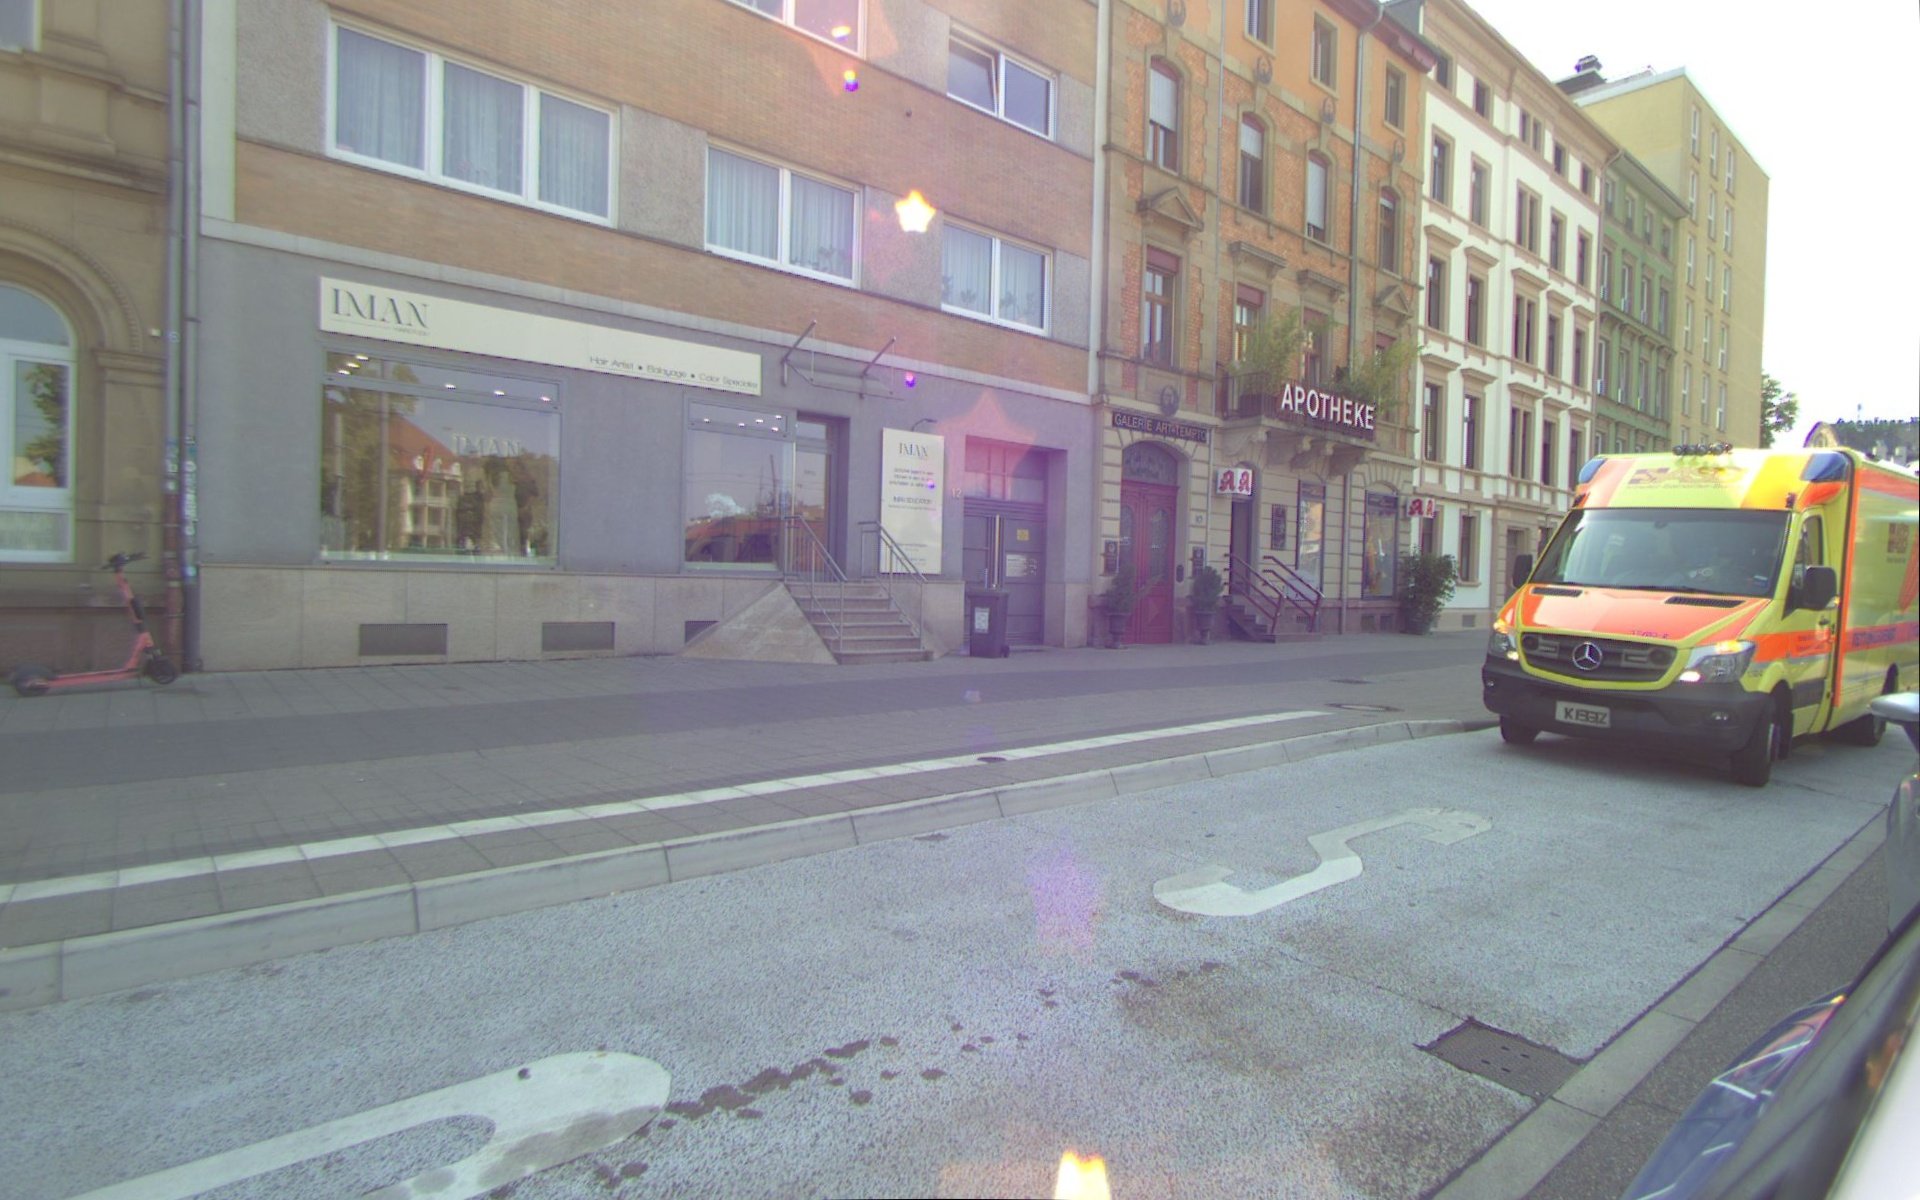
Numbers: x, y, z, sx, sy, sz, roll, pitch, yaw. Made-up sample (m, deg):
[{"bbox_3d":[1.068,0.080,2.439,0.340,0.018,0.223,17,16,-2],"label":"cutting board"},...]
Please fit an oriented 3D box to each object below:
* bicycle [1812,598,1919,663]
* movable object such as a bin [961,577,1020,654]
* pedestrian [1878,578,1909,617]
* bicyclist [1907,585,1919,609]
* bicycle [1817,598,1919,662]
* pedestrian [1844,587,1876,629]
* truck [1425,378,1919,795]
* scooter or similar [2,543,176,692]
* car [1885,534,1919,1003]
[{"bbox_3d":[17.961,0.573,19.875,0.427,1.219,1.841,1,0,-39],"label":"bicycle"},{"bbox_3d":[0.480,0.226,15.673,0.640,1.118,0.723,3,2,24],"label":"movable object such as a bin"},{"bbox_3d":[40.486,-0.119,43.889,0.780,1.648,0.647,1,2,-24],"label":"pedestrian"},{"bbox_3d":[64.893,-0.216,68.732,1.083,1.606,0.721,1,1,-40],"label":"bicyclist"},{"bbox_3d":[18.298,0.573,20.141,0.427,1.219,1.841,1,0,-39],"label":"bicycle"},{"bbox_3d":[39.322,0.344,44.224,0.780,1.780,0.691,1,2,-22],"label":"pedestrian"},{"bbox_3d":[7.238,-0.166,9.620,6.221,2.803,2.336,0,4,-37],"label":"truck"},{"bbox_3d":[-7.660,0.132,8.922,0.476,1.227,1.124,3,2,44],"label":"scooter or similar"},{"bbox_3d":[5.294,0.594,4.147,3.929,1.608,1.728,0,1,-40],"label":"car"}]
